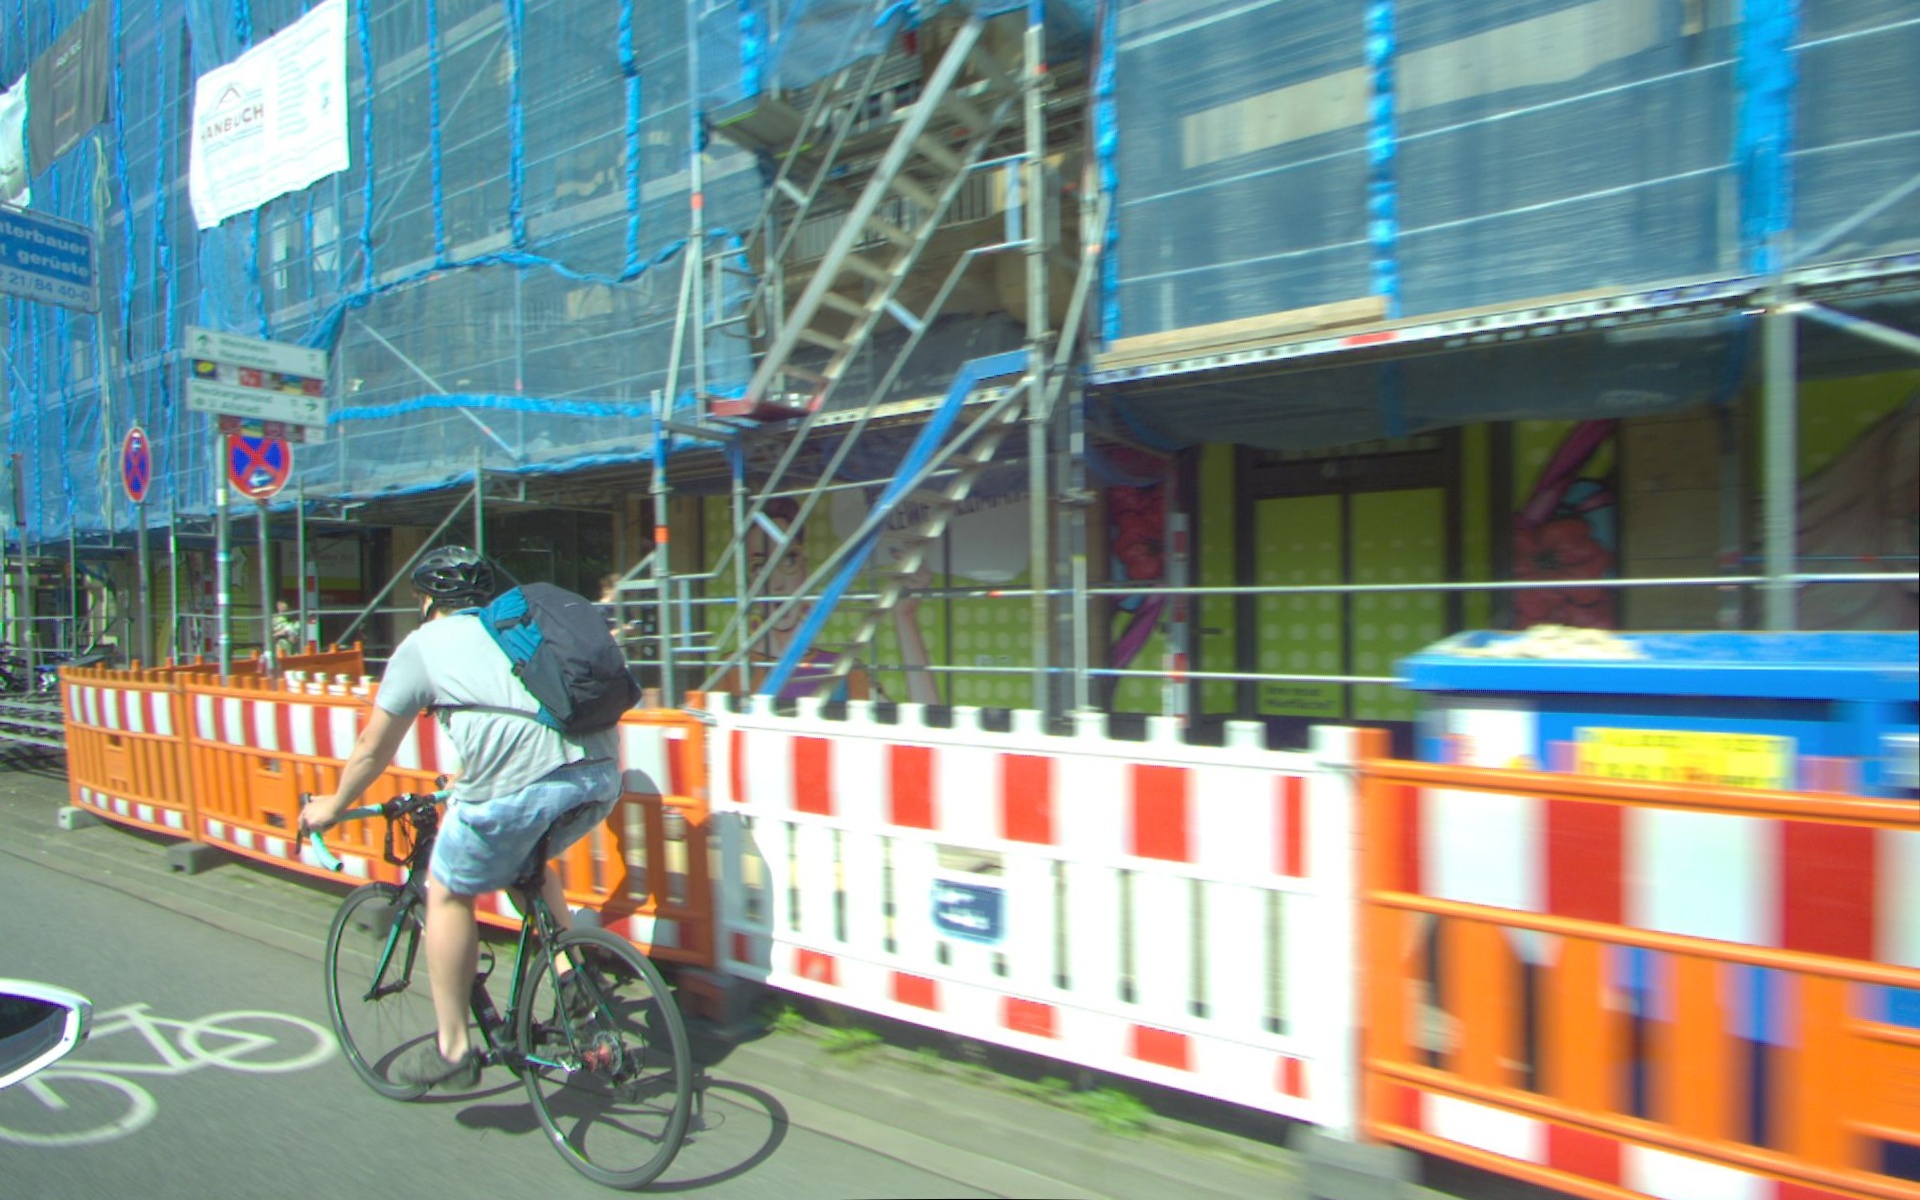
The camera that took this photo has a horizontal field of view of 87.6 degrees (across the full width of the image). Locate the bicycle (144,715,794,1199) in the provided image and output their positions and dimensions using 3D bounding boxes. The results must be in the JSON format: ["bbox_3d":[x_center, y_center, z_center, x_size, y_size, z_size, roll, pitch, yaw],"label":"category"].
[{"bbox_3d":[-1.550,0.980,3.018,2.099,1.107,0.733,-1,-1,31],"label":"bicycle"}]

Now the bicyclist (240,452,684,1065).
[{"bbox_3d":[-1.493,0.395,3.010,1.126,1.482,0.687,0,-1,31],"label":"bicyclist"}]

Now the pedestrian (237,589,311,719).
[{"bbox_3d":[-8.935,0.693,13.060,0.635,1.622,0.763,1,-1,-23],"label":"pedestrian"}]

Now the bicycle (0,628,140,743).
[{"bbox_3d":[-10.152,0.913,10.988,0.600,1.194,1.690,0,-1,32],"label":"bicycle"}]

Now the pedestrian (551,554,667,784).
[{"bbox_3d":[-2.897,0.552,8.288,0.640,1.799,0.638,0,-1,32],"label":"pedestrian"}]

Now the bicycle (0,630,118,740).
[{"bbox_3d":[-10.717,0.949,11.358,0.600,1.194,1.690,0,-1,32],"label":"bicycle"}]

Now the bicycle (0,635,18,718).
[{"bbox_3d":[-13.704,1.038,13.236,0.600,1.123,1.735,0,-1,32],"label":"bicycle"}]

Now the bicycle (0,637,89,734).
[{"bbox_3d":[-11.398,1.005,11.743,0.600,1.112,1.690,0,-1,32],"label":"bicycle"}]

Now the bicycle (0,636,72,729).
[{"bbox_3d":[-11.943,1.009,12.130,0.600,1.111,1.690,0,-1,32],"label":"bicycle"}]
